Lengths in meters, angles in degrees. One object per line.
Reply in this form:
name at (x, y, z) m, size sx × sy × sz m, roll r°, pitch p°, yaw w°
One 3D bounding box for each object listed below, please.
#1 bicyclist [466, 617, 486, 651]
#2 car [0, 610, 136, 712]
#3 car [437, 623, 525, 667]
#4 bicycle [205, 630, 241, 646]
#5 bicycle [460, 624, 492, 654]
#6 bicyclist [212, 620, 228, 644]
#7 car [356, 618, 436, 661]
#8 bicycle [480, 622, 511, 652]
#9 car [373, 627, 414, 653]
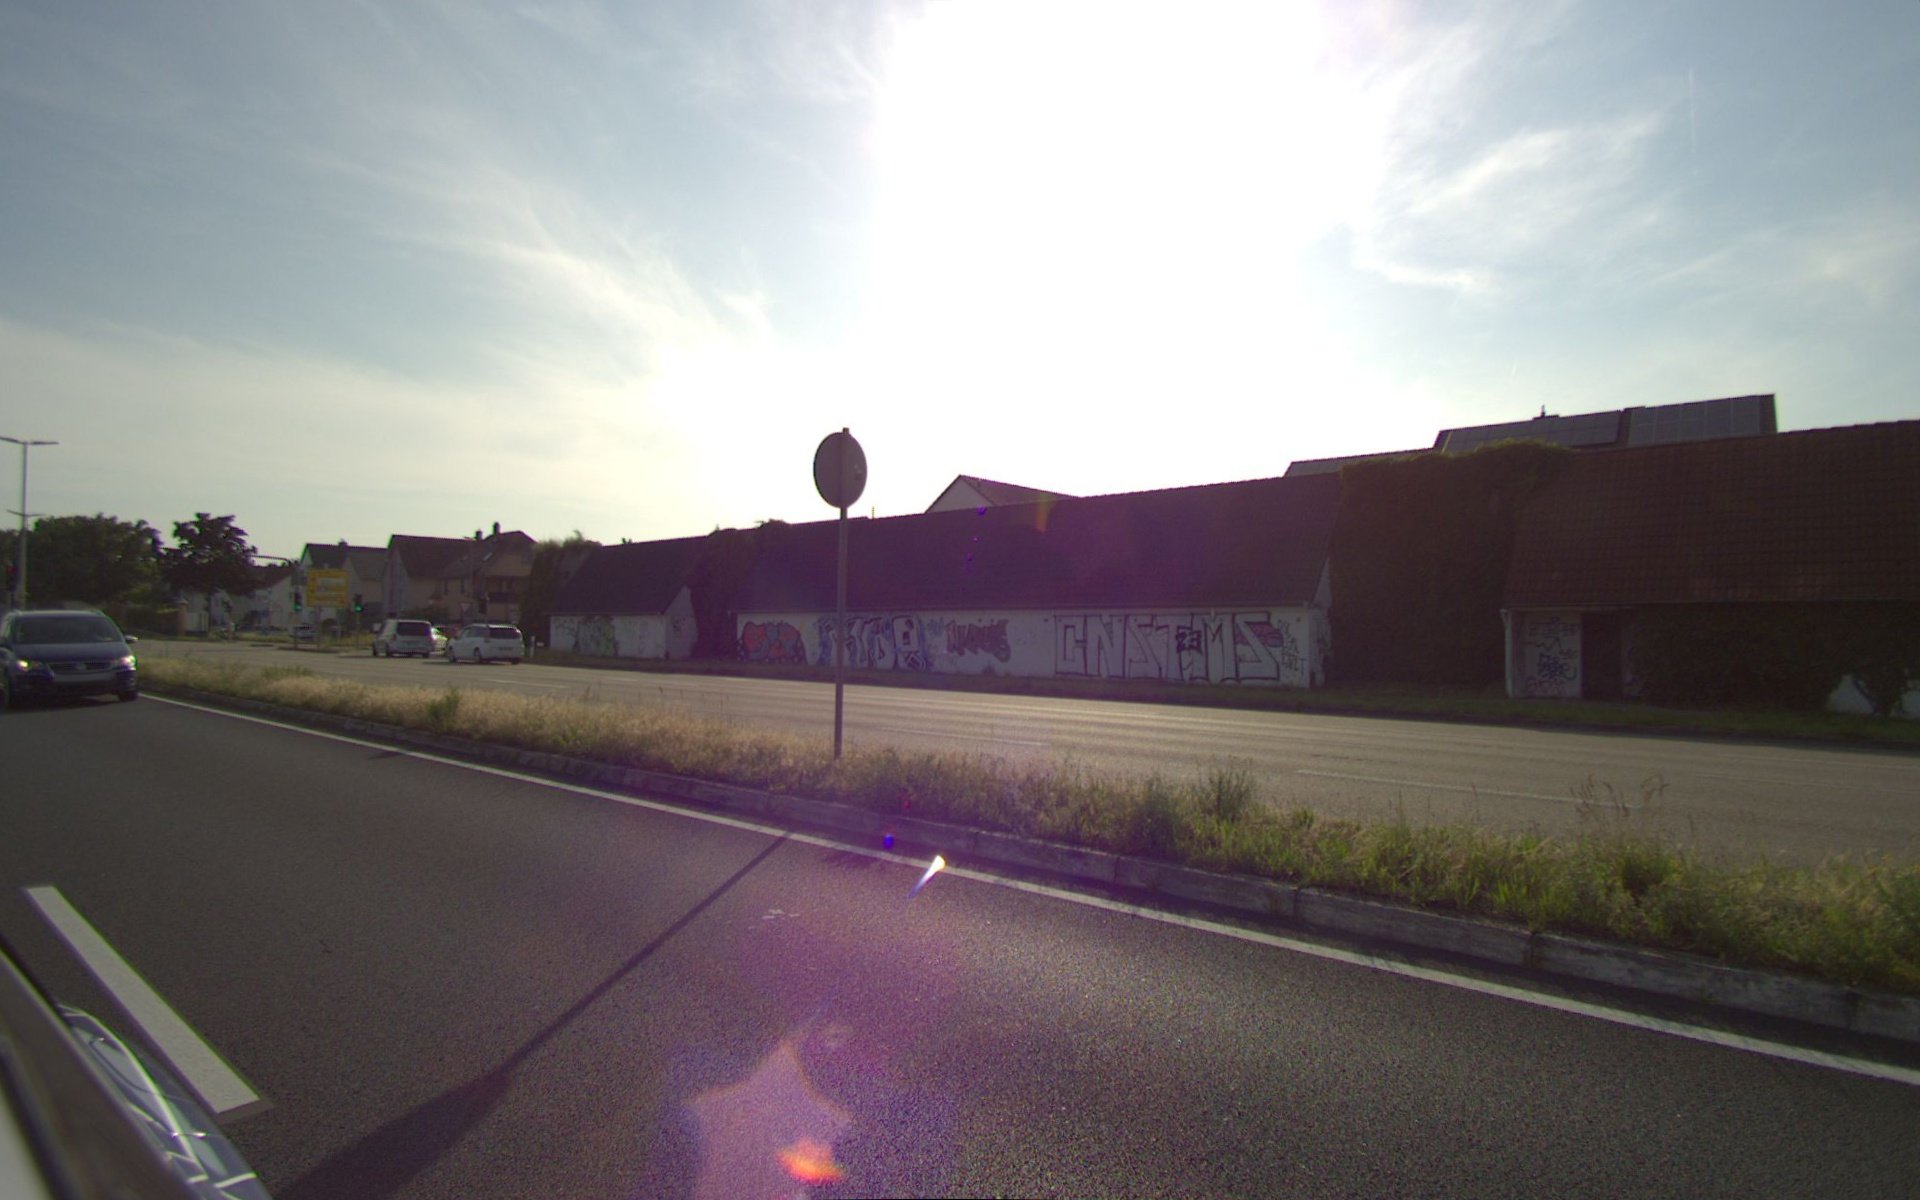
bicyclist at (-29.423, 2.080, 61.513) m, size 1.061 × 2.029 × 0.762 m, roll 0°, pitch 0°, yaw 41°
car at (-16.632, 1.002, 18.480) m, size 4.680 × 1.633 × 1.754 m, roll 0°, pitch -1°, yaw 42°
car at (-20.601, 1.896, 43.423) m, size 4.759 × 1.720 × 1.816 m, roll 0°, pitch -4°, yaw 44°
bicycle at (-57.091, 2.918, 78.393) m, size 2.129 × 1.201 × 0.905 m, roll 3°, pitch -2°, yaw -40°
bicycle at (-29.386, 2.344, 61.431) m, size 2.606 × 1.762 × 0.745 m, roll 0°, pitch 0°, yaw 42°
bicyclist at (-57.220, 2.468, 78.281) m, size 0.844 × 1.800 × 0.848 m, roll 5°, pitch -3°, yaw -41°
car at (-28.480, 1.964, 51.021) m, size 5.454 × 1.942 × 1.886 m, roll 0°, pitch -4°, yaw 43°
bicycle at (-28.618, 2.279, 62.309) m, size 2.606 × 1.762 × 0.745 m, roll 0°, pitch 0°, yaw 42°
car at (-36.506, 2.570, 65.287) m, size 1.678 × 1.509 × 4.552 m, roll 4°, pitch -3°, yaw -22°
